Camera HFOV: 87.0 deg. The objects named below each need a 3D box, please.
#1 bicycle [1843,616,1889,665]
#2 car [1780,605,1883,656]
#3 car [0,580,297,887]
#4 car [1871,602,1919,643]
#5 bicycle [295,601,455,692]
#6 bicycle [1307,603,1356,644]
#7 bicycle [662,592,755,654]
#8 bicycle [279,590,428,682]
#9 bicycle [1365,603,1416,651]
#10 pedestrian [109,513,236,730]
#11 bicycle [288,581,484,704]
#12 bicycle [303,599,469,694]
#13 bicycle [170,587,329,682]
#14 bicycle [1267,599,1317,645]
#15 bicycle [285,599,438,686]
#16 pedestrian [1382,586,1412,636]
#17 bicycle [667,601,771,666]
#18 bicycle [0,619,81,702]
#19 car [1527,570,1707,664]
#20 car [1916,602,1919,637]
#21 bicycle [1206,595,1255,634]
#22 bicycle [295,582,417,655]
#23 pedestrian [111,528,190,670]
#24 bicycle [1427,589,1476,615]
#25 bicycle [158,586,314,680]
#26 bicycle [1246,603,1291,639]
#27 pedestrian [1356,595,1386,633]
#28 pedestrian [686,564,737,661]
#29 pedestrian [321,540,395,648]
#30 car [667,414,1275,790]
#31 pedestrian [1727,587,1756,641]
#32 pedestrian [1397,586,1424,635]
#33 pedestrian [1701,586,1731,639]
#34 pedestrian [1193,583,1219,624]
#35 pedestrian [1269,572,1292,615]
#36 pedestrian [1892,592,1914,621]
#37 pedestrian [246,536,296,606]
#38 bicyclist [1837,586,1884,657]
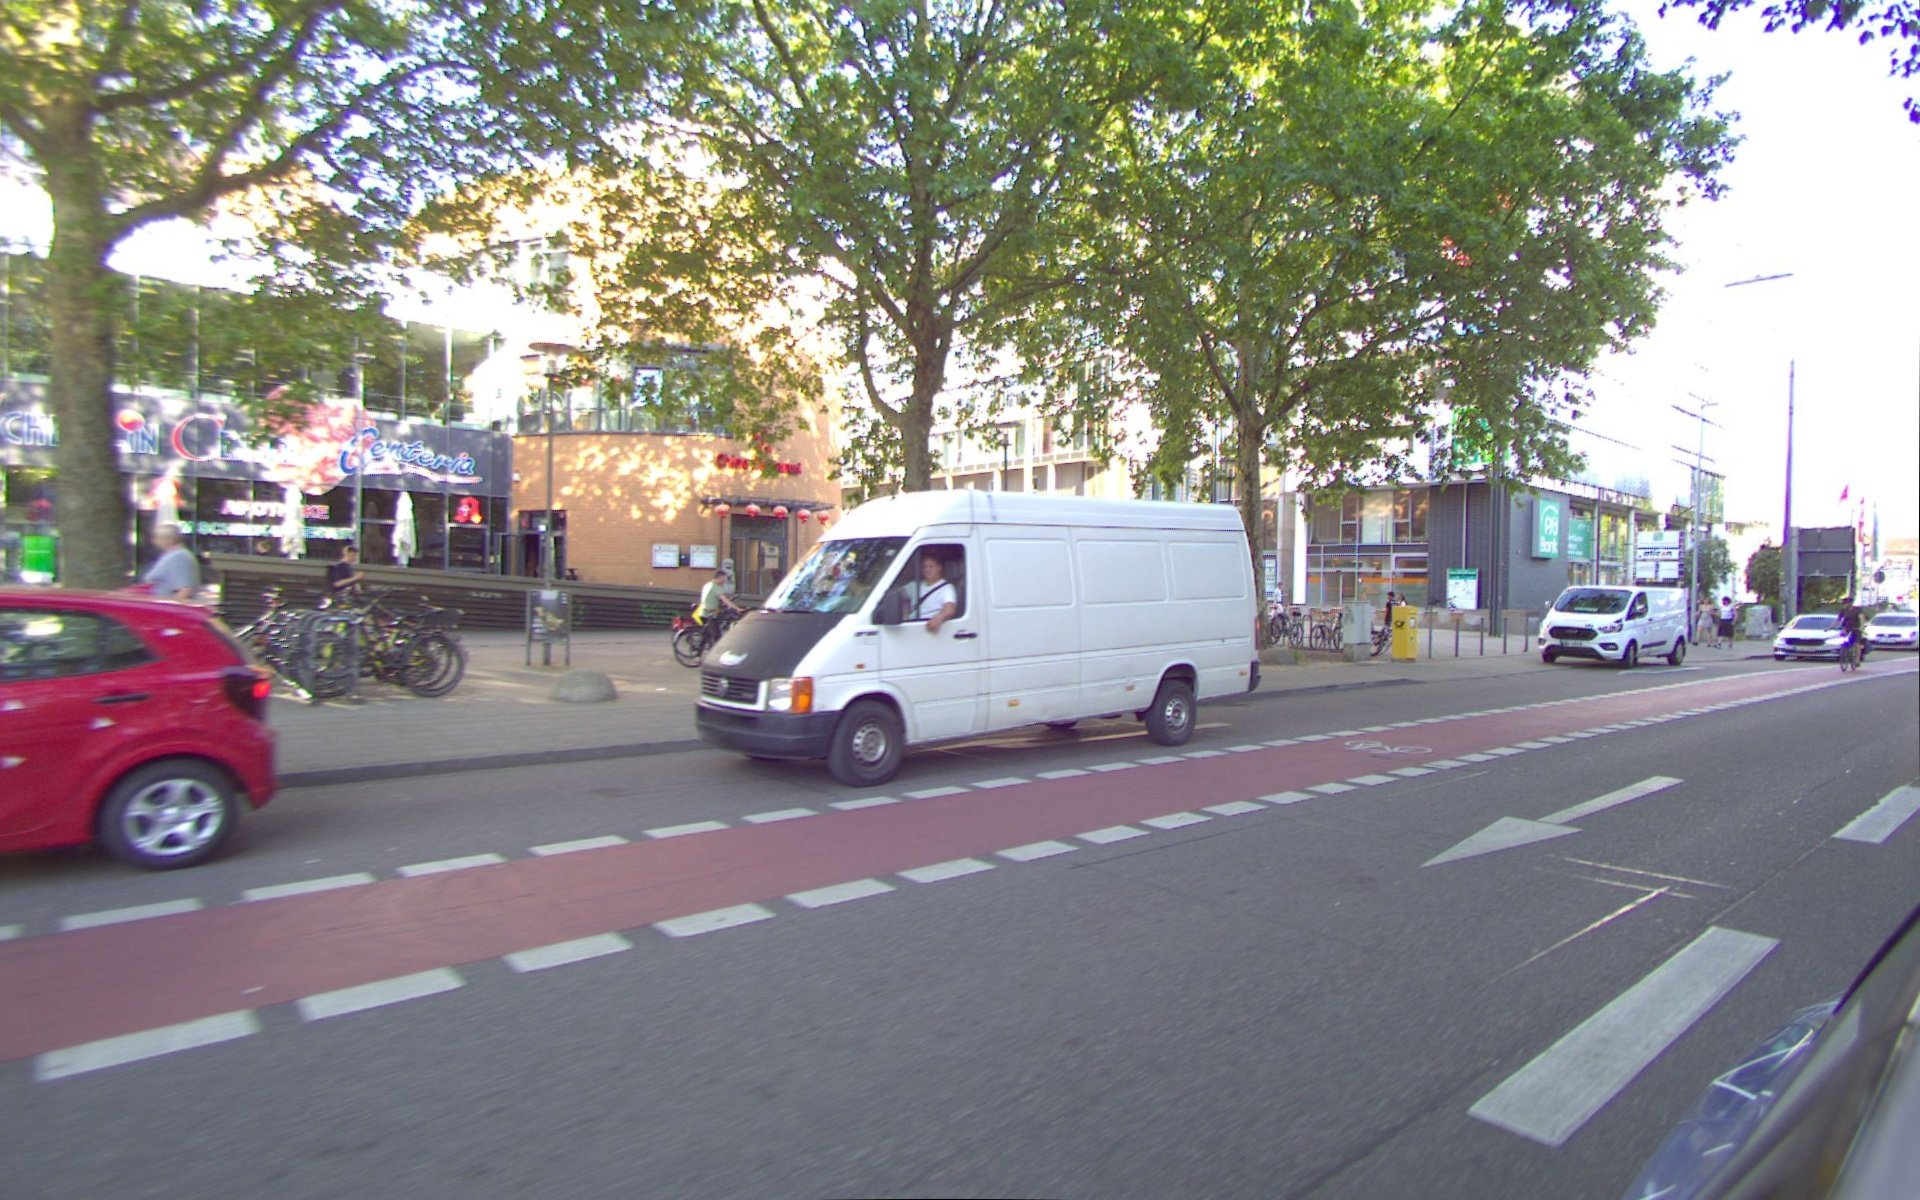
[{"bbox_3d":[22.446,0.984,25.052,2.089,1.135,0.550,0,1,-40],"label":"bicycle"},{"bbox_3d":[27.177,0.907,31.536,3.950,1.437,1.785,0,1,-40],"label":"car"},{"bbox_3d":[-5.570,0.634,5.079,3.559,1.482,1.561,0,0,-42],"label":"car"},{"bbox_3d":[37.129,0.869,39.410,3.796,1.482,1.672,0,1,-36],"label":"car"},{"bbox_3d":[-7.270,0.548,12.622,1.627,1.044,0.596,0,1,-42],"label":"bicycle"},{"bbox_3d":[9.746,0.601,26.547,1.599,1.042,0.460,0,1,-40],"label":"bicycle"},{"bbox_3d":[-4.806,0.430,19.376,1.623,1.140,0.597,0,1,-34],"label":"bicycle"},{"bbox_3d":[-8.066,0.453,13.502,1.627,1.151,0.502,0,1,-42],"label":"bicycle"},{"bbox_3d":[10.738,0.657,25.230,1.512,1.173,0.513,0,1,-40],"label":"bicycle"},{"bbox_3d":[-7.031,0.165,9.034,0.795,1.808,0.873,0,1,-44],"label":"pedestrian"},{"bbox_3d":[-6.487,0.443,11.503,1.844,1.280,0.596,0,1,-42],"label":"bicycle"},{"bbox_3d":[-6.835,0.524,12.099,1.627,1.044,0.596,0,1,-42],"label":"bicycle"},{"bbox_3d":[-9.252,0.427,13.214,1.663,1.174,0.479,0,1,-38],"label":"bicycle"},{"bbox_3d":[9.081,0.585,27.637,1.688,1.193,0.460,0,1,-40],"label":"bicycle"},{"bbox_3d":[-7.708,0.516,13.072,1.627,1.044,0.502,0,1,-42],"label":"bicycle"},{"bbox_3d":[13.938,0.333,32.267,0.625,1.562,0.579,1,1,-32],"label":"pedestrian"},{"bbox_3d":[-4.119,0.553,17.324,1.624,1.060,0.597,0,1,-36],"label":"bicycle"},{"bbox_3d":[-9.747,0.613,10.570,0.391,0.770,1.115,1,1,-14],"label":"bicycle"},{"bbox_3d":[16.736,0.373,25.685,5.190,2.160,2.130,0,1,-37],"label":"car"},{"bbox_3d":[47.113,0.940,48.070,3.928,1.616,1.998,0,1,-39],"label":"car"},{"bbox_3d":[7.866,0.420,29.428,1.480,1.091,0.461,1,1,-31],"label":"bicycle"},{"bbox_3d":[-10.262,0.303,17.223,1.736,1.174,0.578,0,1,-36],"label":"bicycle"},{"bbox_3d":[-10.554,-0.026,13.222,0.756,1.779,0.820,1,1,-36],"label":"pedestrian"},{"bbox_3d":[22.250,0.083,45.814,0.688,1.076,1.879,0,2,-40],"label":"bicycle"},{"bbox_3d":[-9.656,0.417,13.535,1.663,1.174,0.479,0,1,-38],"label":"bicycle"},{"bbox_3d":[8.611,0.585,28.248,1.484,0.971,0.460,0,1,-40],"label":"bicycle"},{"bbox_3d":[13.625,0.451,33.548,0.664,1.236,0.616,1,1,-35],"label":"pedestrian"},{"bbox_3d":[-4.362,0.210,17.783,0.624,1.651,0.719,1,1,-36],"label":"pedestrian"},{"bbox_3d":[-10.249,-0.108,17.230,1.000,1.779,0.789,1,1,-36],"label":"pedestrian"},{"bbox_3d":[0.503,0.016,10.270,6.445,2.759,1.997,0,0,-40],"label":"car"},{"bbox_3d":[26.939,0.482,34.891,0.875,1.831,0.564,0,1,-39],"label":"pedestrian"},{"bbox_3d":[14.543,0.327,32.675,0.623,1.542,0.517,1,1,-32],"label":"pedestrian"},{"bbox_3d":[26.525,0.432,35.502,0.879,1.831,0.591,0,1,-39],"label":"pedestrian"},{"bbox_3d":[9.099,0.114,37.469,0.590,1.474,0.713,1,1,-39],"label":"pedestrian"},{"bbox_3d":[12.895,-0.263,40.725,0.710,1.697,0.539,1,1,-39],"label":"pedestrian"},{"bbox_3d":[52.725,0.344,56.571,0.895,1.594,0.754,0,1,-36],"label":"pedestrian"},{"bbox_3d":[-18.772,-0.783,27.598,0.834,1.867,1.002,1,1,-16],"label":"pedestrian"},{"bbox_3d":[22.425,0.522,25.205,0.702,1.709,0.752,1,1,-41],"label":"bicyclist"}]
